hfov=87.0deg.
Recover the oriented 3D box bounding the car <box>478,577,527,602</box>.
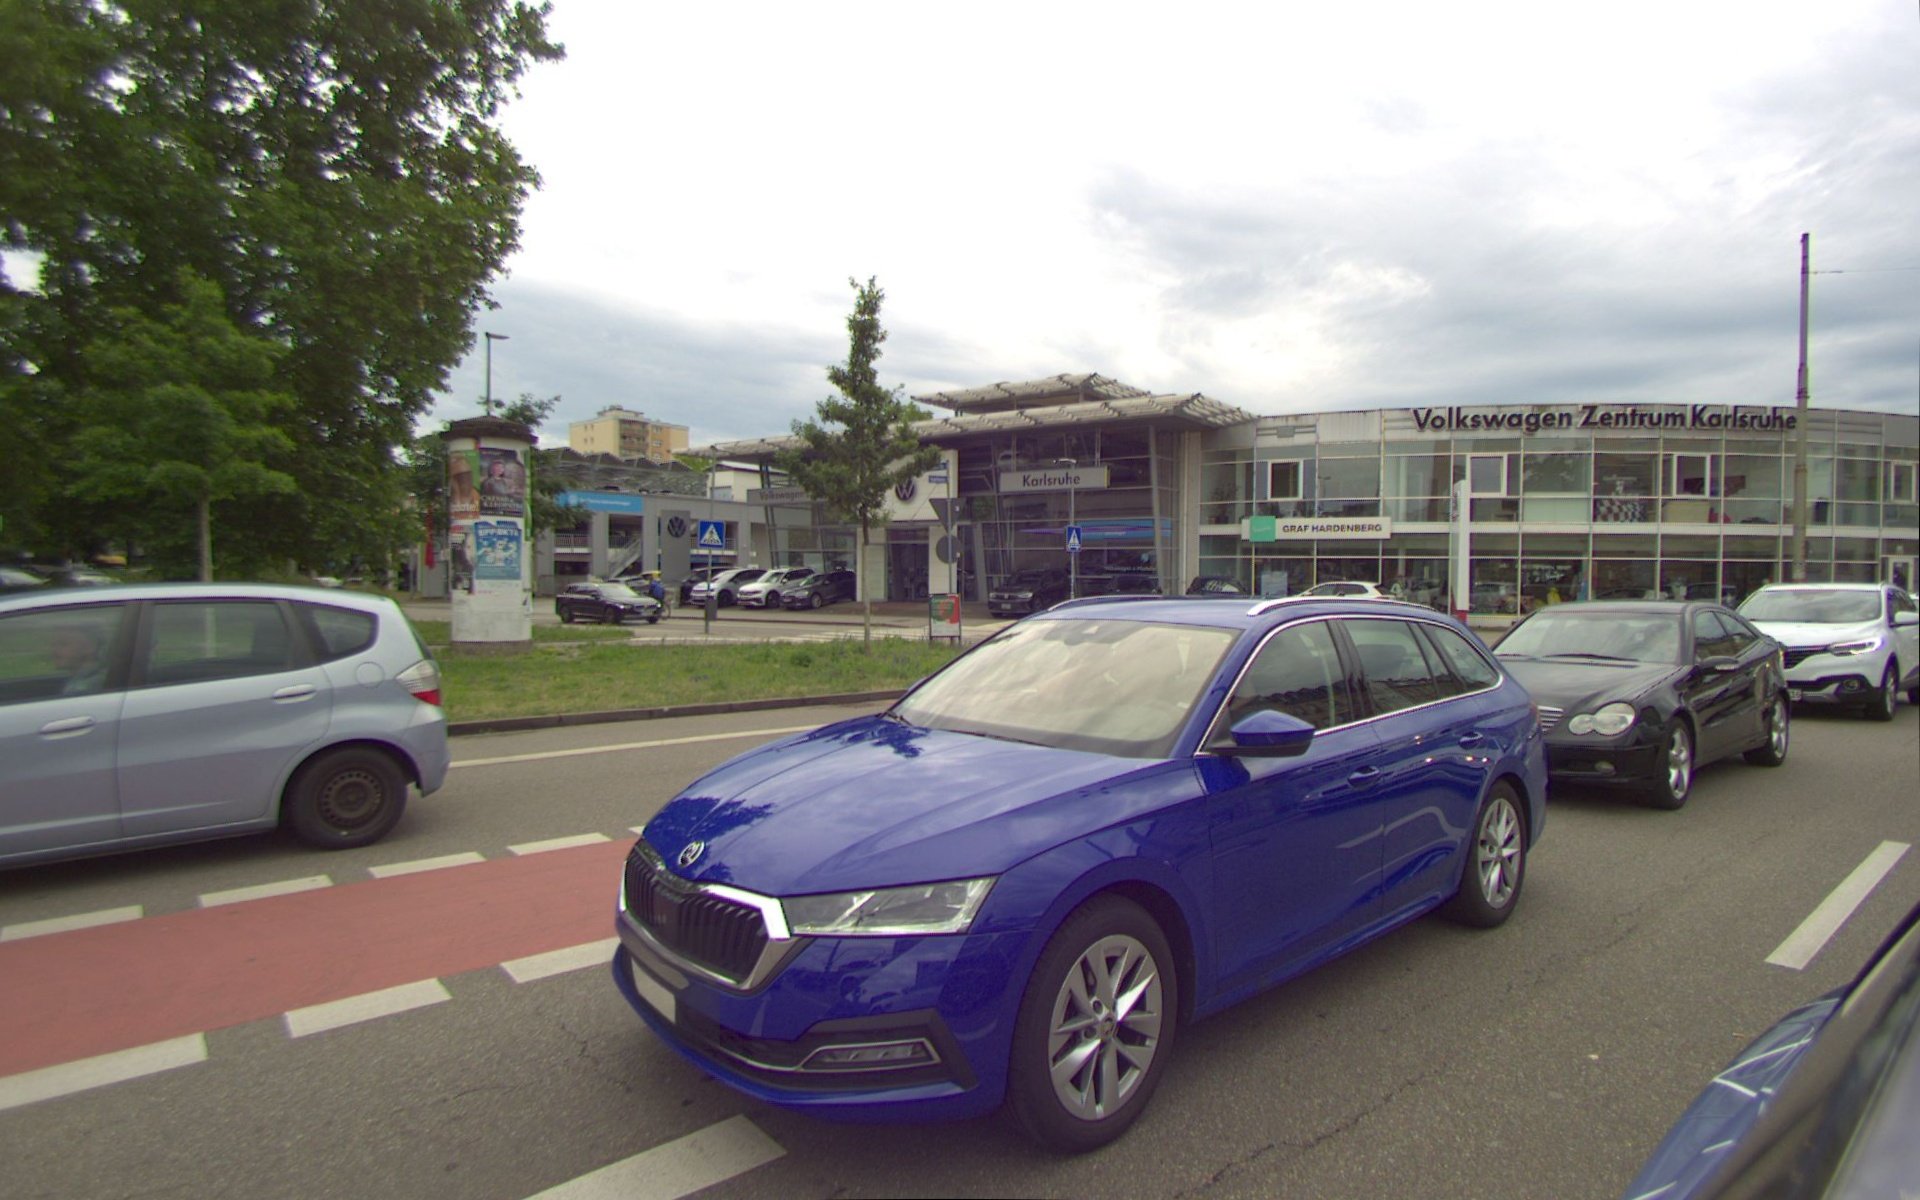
[{"bbox_3d":[-27.581,-0.651,60.916,1.928,1.358,3.678,-1,2,-37],"label":"car"}]

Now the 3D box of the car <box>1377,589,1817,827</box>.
[{"bbox_3d":[5.306,0.628,8.179,4.344,1.387,1.769,-1,1,-40],"label":"car"}]

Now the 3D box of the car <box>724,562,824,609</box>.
[{"bbox_3d":[-8.361,-0.698,45.717,1.946,1.614,4.180,2,8,37],"label":"car"}]

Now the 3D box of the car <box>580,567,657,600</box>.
[{"bbox_3d":[-17.084,-0.852,50.581,4.127,1.531,1.633,2,2,38],"label":"car"}]

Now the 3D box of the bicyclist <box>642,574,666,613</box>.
[{"bbox_3d":[-11.966,-0.266,39.584,0.688,1.515,0.550,1,1,25],"label":"bicyclist"}]

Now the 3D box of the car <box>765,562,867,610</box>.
[{"bbox_3d":[-6.183,-0.664,43.923,1.946,1.472,4.182,2,9,37],"label":"car"}]

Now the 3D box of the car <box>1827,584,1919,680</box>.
[{"bbox_3d":[16.111,0.475,16.780,3.900,1.454,1.908,-1,2,-38],"label":"car"}]

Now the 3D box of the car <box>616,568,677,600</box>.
[{"bbox_3d":[-16.343,-0.842,52.691,3.106,1.530,1.423,2,6,38],"label":"car"}]

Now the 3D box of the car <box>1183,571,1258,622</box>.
[{"bbox_3d":[8.650,-0.169,33.913,1.759,1.580,4.030,1,2,5],"label":"car"}]

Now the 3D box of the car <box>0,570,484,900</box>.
[{"bbox_3d":[-4.833,0.609,5.354,3.867,1.502,1.706,-1,1,-43],"label":"car"}]

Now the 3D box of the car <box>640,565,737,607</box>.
[{"bbox_3d":[-13.024,-0.700,48.777,1.946,1.529,4.180,2,8,37],"label":"car"}]

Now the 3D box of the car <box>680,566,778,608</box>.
[{"bbox_3d":[-10.735,-0.650,47.307,1.946,1.483,4.179,2,7,37],"label":"car"}]

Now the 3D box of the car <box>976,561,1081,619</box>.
[{"bbox_3d":[2.581,-0.435,37.101,1.942,1.662,4.628,1,6,31],"label":"car"}]

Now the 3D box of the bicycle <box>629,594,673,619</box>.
[{"bbox_3d":[-12.122,0.230,39.631,1.772,0.923,0.557,1,1,27],"label":"bicycle"}]

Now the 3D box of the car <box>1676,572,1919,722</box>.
[{"bbox_3d":[10.901,0.448,12.751,4.070,1.578,1.983,-1,2,-38],"label":"car"}]

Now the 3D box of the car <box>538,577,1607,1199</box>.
[{"bbox_3d":[0.930,0.638,4.228,4.674,1.454,1.768,-1,1,-41],"label":"car"}]

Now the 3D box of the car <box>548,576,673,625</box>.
[{"bbox_3d":[-12.559,-0.046,36.217,4.856,1.562,1.866,2,2,37],"label":"car"}]

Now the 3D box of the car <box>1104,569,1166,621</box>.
[{"bbox_3d":[6.007,-0.217,34.479,1.927,1.543,4.217,1,3,12],"label":"car"}]

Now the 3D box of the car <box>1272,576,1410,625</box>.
[{"bbox_3d":[12.390,-0.033,33.057,3.889,1.459,1.708,2,2,40],"label":"car"}]
